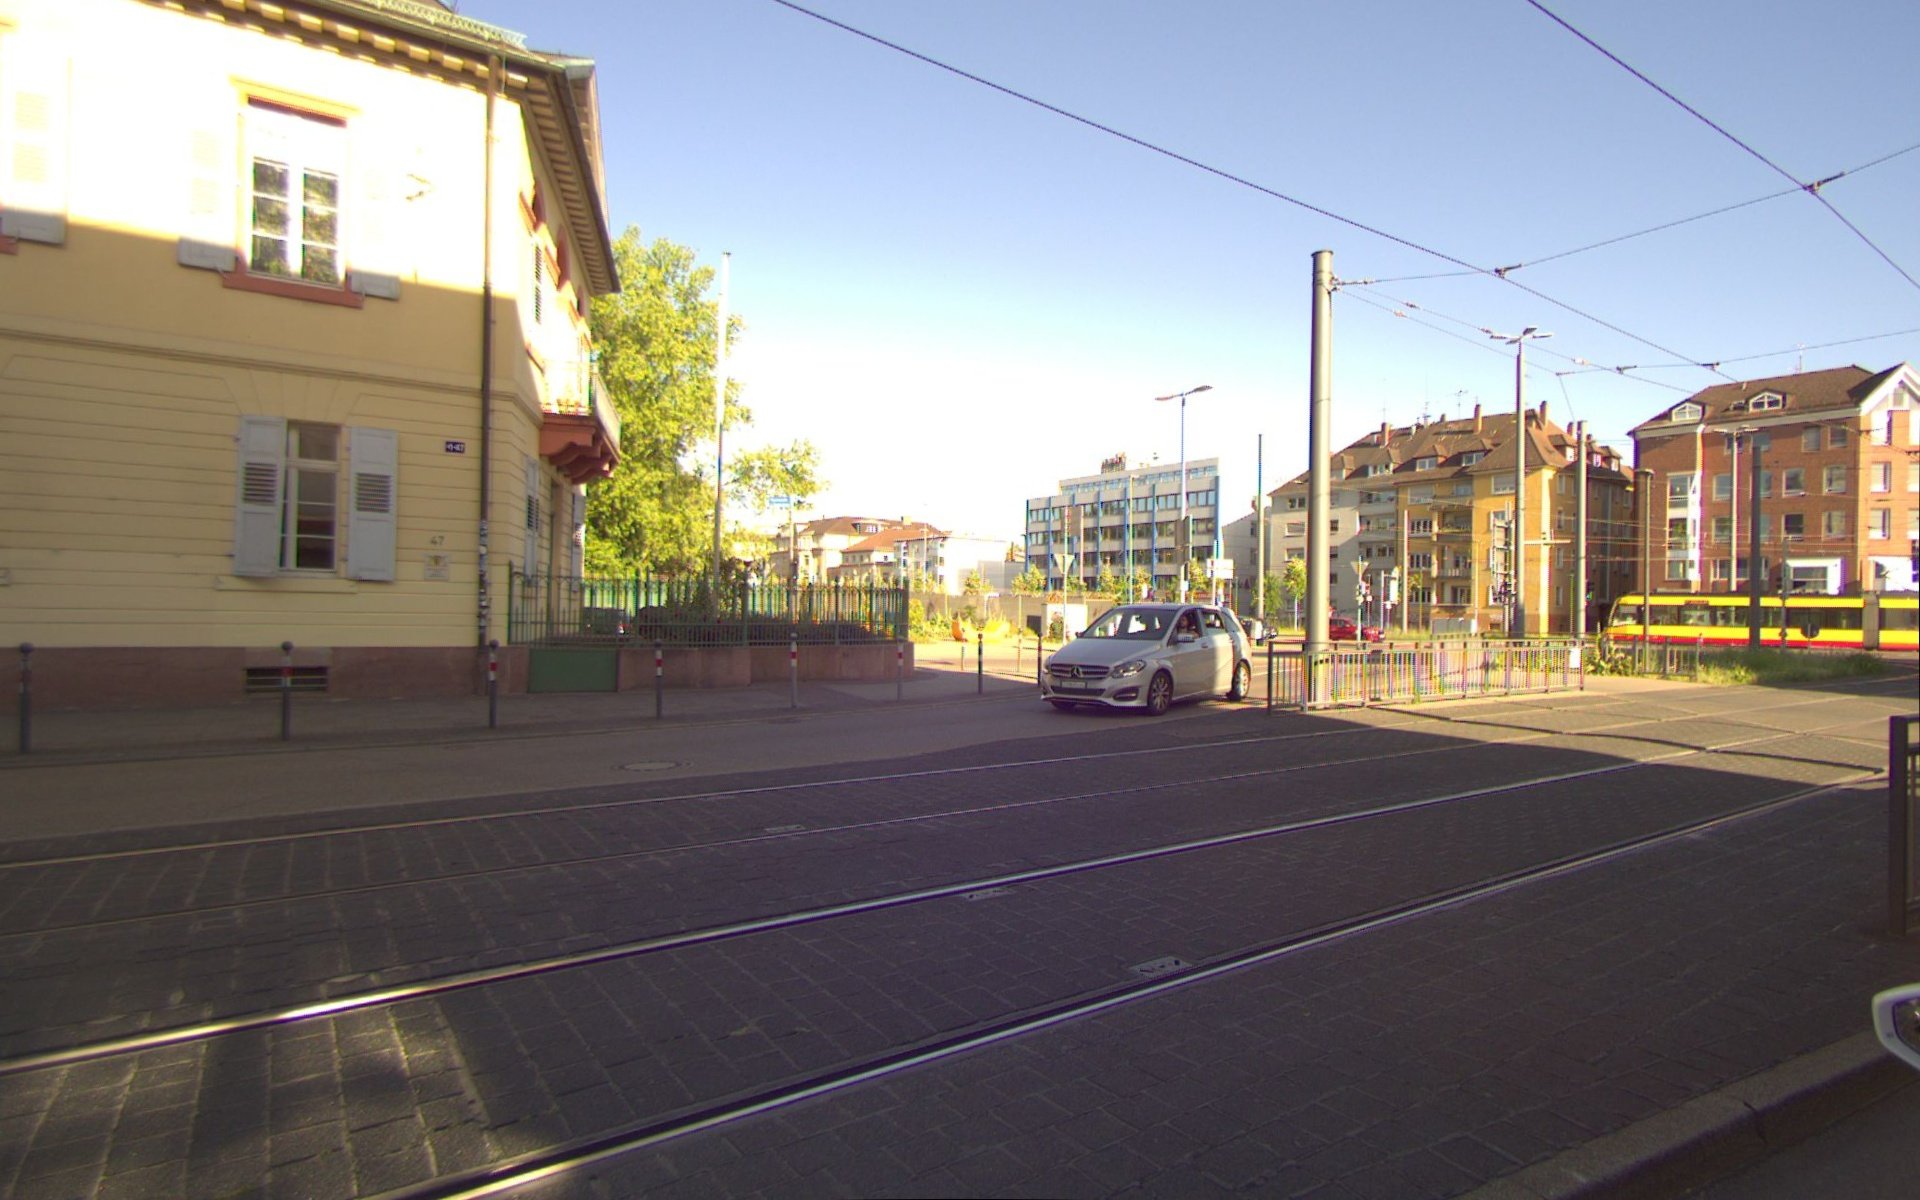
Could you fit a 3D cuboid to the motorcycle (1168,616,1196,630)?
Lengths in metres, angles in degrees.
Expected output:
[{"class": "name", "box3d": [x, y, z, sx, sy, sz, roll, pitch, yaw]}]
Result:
[{"class": "motorcycle", "box3d": [15.551, 1.604, 70.493, 0.556, 0.905, 1.982, 1, 2, -39]}]

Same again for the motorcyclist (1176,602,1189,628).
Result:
[{"class": "motorcyclist", "box3d": [15.581, 1.053, 70.429, 0.385, 1.731, 0.775, 1, 2, -38]}]

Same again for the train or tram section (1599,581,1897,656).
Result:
[{"class": "train or tram section", "box3d": [47.558, 0.979, 61.450, 13.928, 3.765, 2.680, 3, 1, 27]}]

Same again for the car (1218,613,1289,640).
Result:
[{"class": "car", "box3d": [19.417, 1.742, 66.484, 1.923, 1.510, 4.110, 1, 1, -40]}]

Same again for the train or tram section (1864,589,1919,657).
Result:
[{"class": "train or tram section", "box3d": [60.876, 1.570, 57.425, 15.077, 3.768, 2.646, 2, 1, 4]}]

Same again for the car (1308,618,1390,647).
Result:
[{"class": "car", "box3d": [23.313, 1.903, 60.288, 1.923, 1.510, 4.110, 1, 1, -40]}]

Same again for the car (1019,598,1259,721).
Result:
[{"class": "car", "box3d": [2.846, 0.805, 15.249, 1.760, 1.589, 4.273, 0, -1, 39]}]
